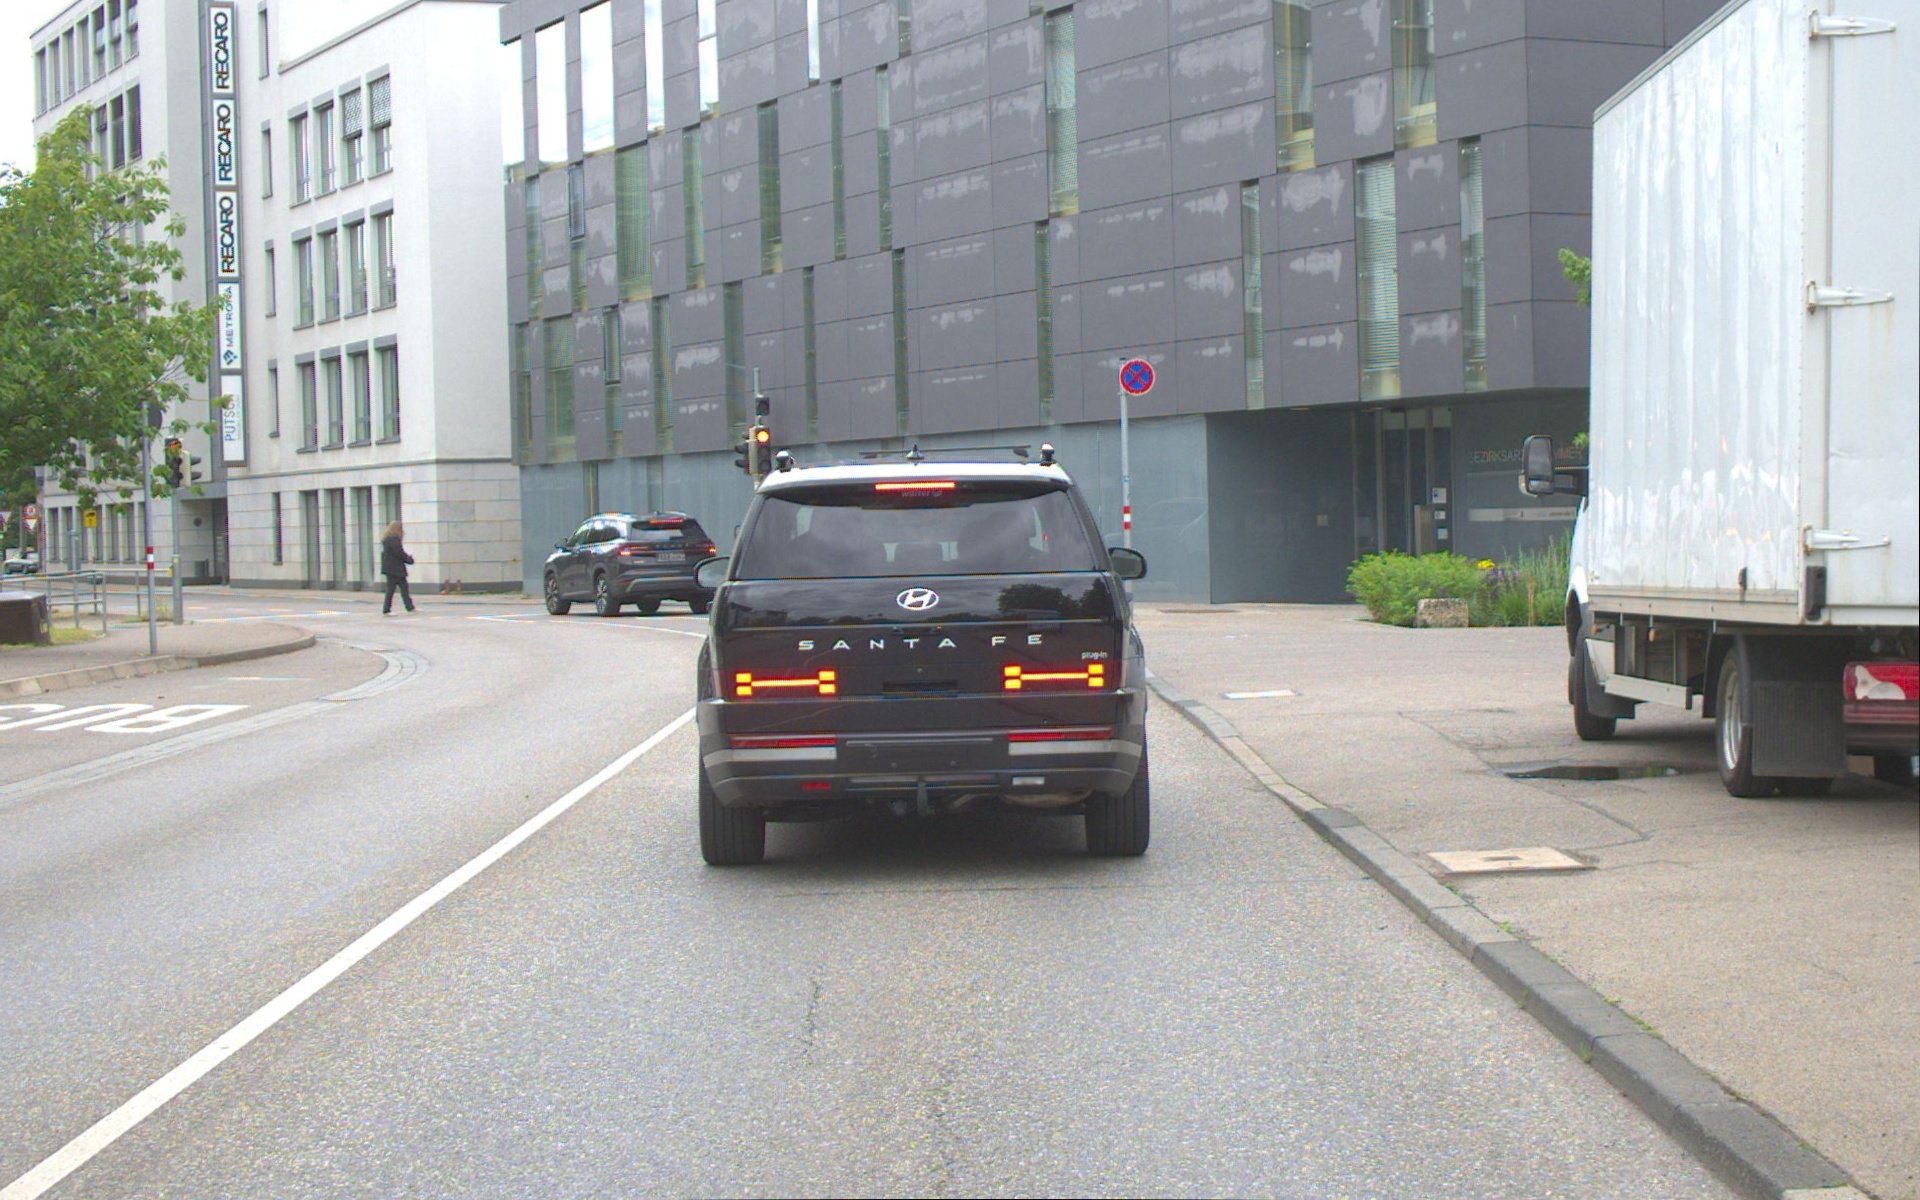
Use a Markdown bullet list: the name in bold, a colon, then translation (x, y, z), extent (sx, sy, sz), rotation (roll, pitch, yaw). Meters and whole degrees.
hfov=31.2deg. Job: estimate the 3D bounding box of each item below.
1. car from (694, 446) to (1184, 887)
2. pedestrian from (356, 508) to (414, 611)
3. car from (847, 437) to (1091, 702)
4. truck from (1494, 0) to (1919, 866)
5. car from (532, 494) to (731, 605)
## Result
- **car**: translation (-0.187, 0.203, 15.503), extent (1.915, 1.719, 4.171), rotation (0, 1, -3)
- **pedestrian**: translation (-10.221, -0.728, 61.128), extent (0.938, 1.794, 0.591), rotation (-2, 1, -12)
- **car**: translation (0.155, -0.310, 29.225), extent (1.855, 2.026, 4.437), rotation (-2, 2, 2)
- **truck**: translation (4.429, -0.933, 16.378), extent (2.573, 3.513, 7.811), rotation (-2, 2, 1)
- **car**: translation (-5.427, -0.804, 56.295), extent (1.847, 1.671, 4.376), rotation (-3, 1, -24)
